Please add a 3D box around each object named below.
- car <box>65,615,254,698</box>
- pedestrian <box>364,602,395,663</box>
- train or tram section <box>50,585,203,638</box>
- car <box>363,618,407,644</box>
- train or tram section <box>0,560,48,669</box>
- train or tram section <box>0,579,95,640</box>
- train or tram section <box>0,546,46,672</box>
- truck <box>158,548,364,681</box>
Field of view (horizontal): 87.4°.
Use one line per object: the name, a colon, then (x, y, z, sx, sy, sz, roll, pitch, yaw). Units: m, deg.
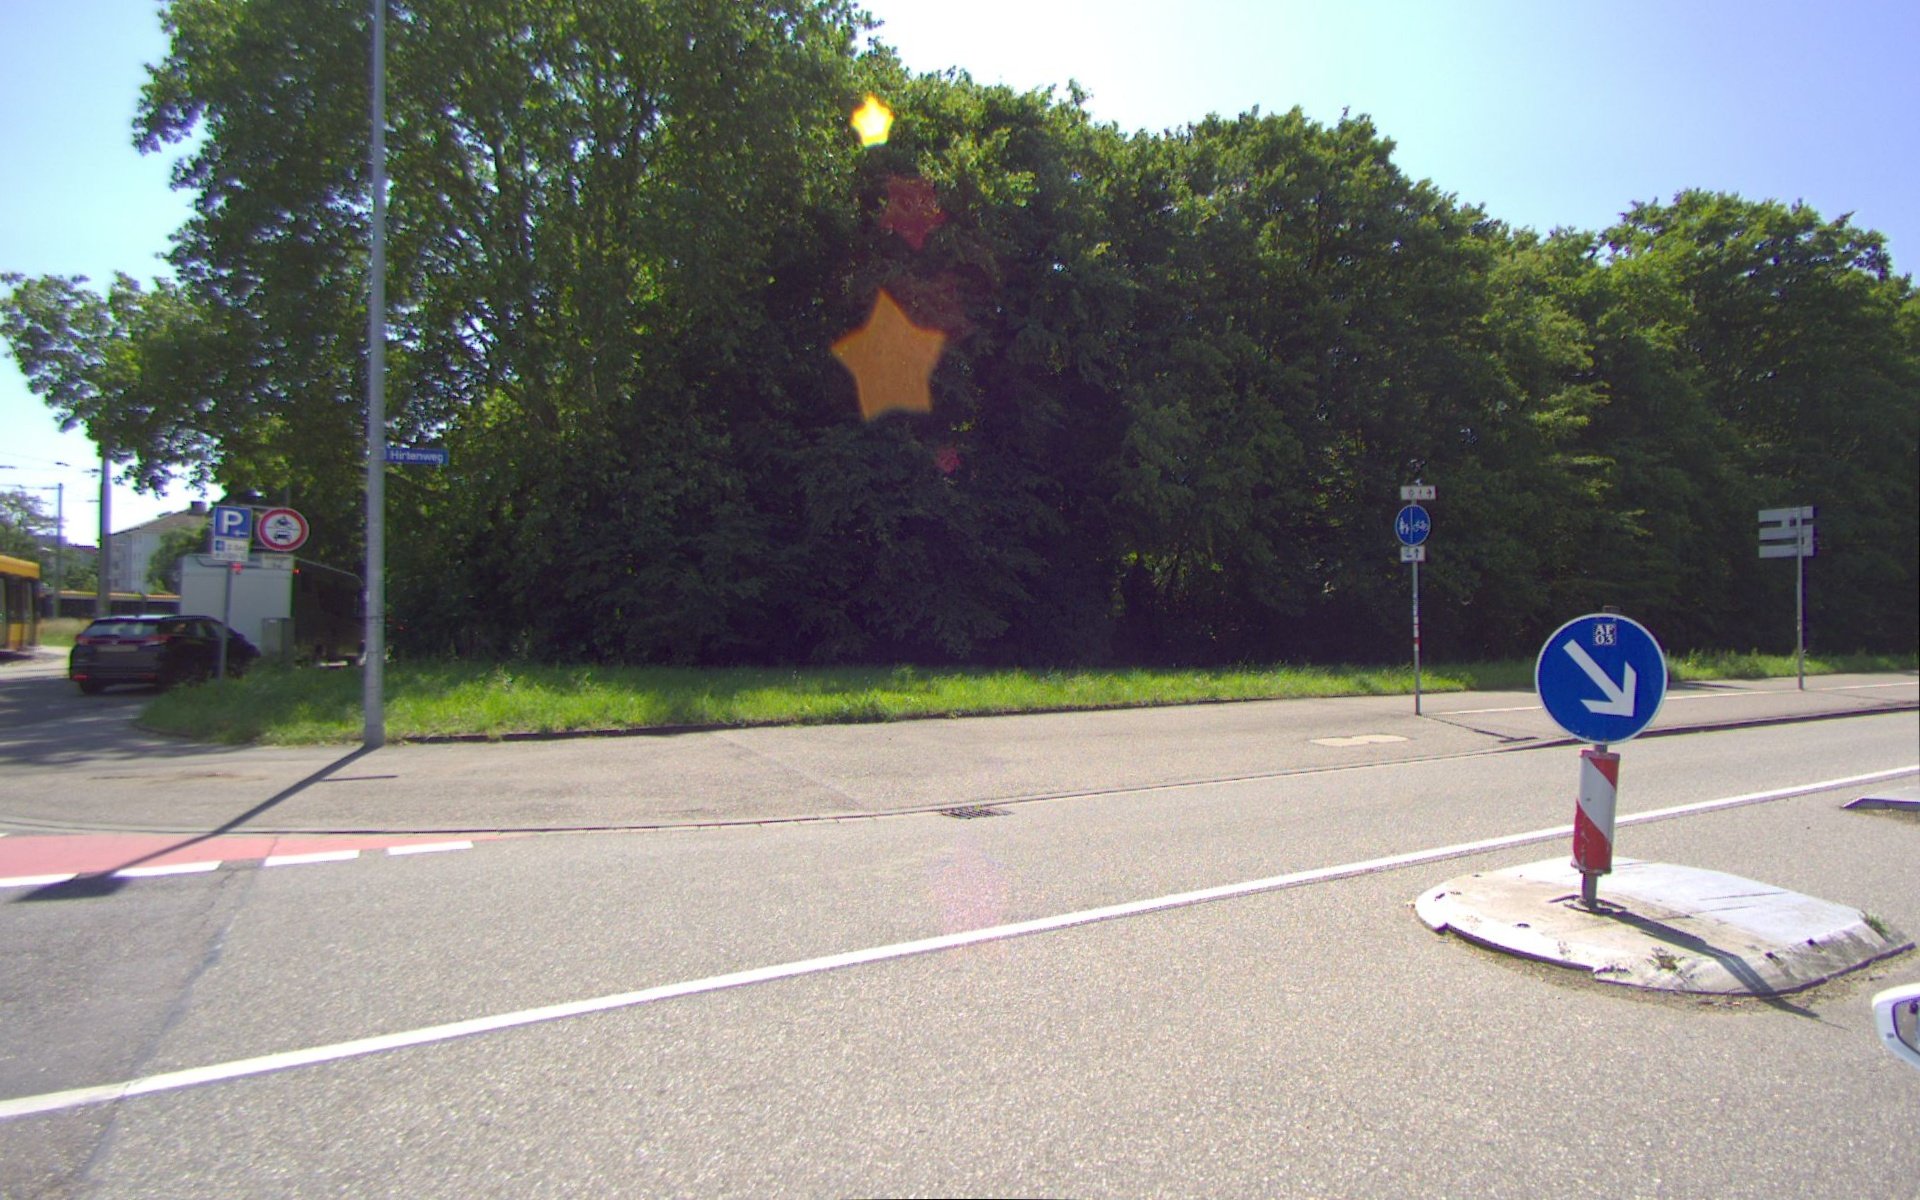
car: (-15.515, 1.053, 19.736, 1.642, 1.436, 4.292, 2, -2, -21)
pedestrian: (-16.807, 0.926, 29.104, 0.648, 1.750, 0.673, 0, -1, -20)
train or tram section: (-72.360, 1.154, 87.822, 2.967, 4.310, 12.750, -1, -2, -2)
car: (-38.460, 2.052, 67.237, 1.798, 1.639, 4.198, 1, -1, -19)
train or tram section: (-39.355, 0.725, 39.175, 13.969, 3.808, 3.015, -2, -2, 37)
train or tram section: (-70.750, 0.868, 75.645, 2.974, 4.310, 12.718, 0, -2, -14)
train or tram section: (-30.259, 0.245, 29.511, 2.995, 3.808, 14.061, 1, -2, -34)
truck: (-17.843, 0.409, 26.212, 2.529, 2.948, 7.309, 1, -1, -20)
